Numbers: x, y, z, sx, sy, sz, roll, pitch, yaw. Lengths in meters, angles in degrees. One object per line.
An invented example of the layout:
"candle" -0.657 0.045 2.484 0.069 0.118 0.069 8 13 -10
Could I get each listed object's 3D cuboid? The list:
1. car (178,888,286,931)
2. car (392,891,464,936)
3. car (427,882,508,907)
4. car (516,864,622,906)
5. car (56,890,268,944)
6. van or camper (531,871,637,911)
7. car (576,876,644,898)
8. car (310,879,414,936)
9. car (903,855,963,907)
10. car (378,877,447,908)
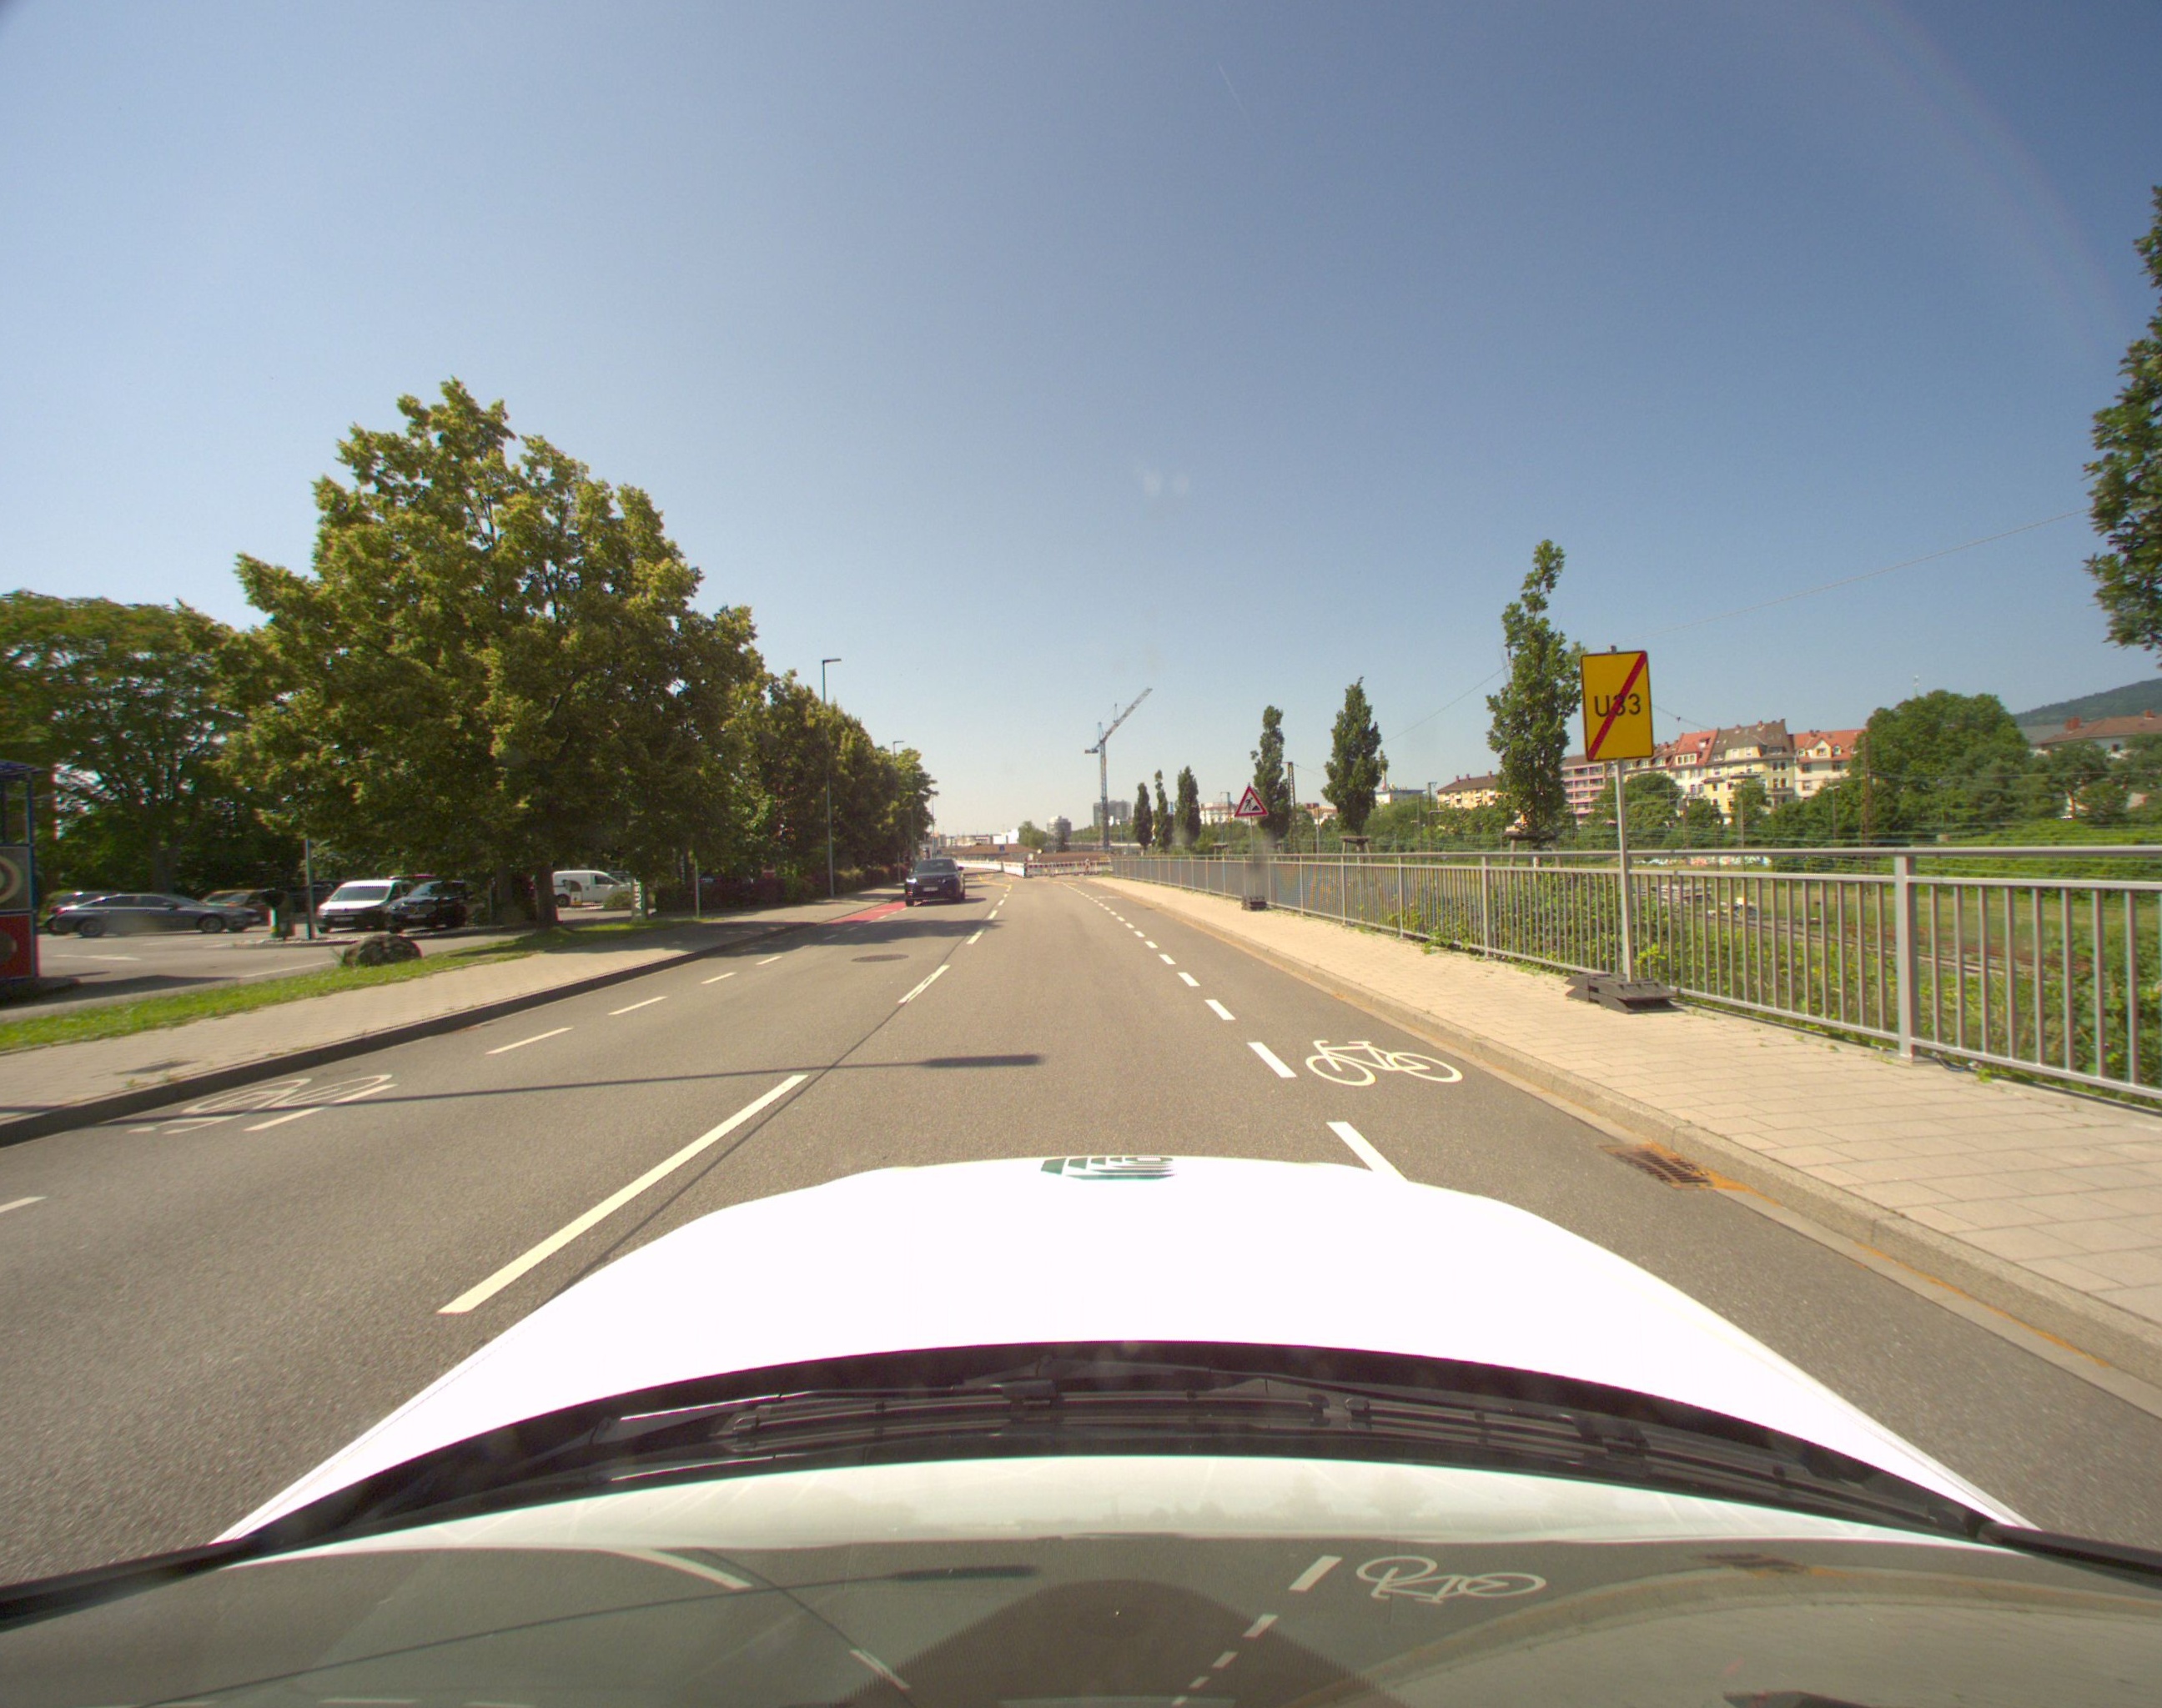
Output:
"car" -35.064 2.239 33.757 1.646 1.488 3.638 -3 0 -21
"car" -22.583 2.002 28.294 1.615 1.286 3.957 -3 0 -34
"car" -40.462 2.671 53.781 4.010 1.338 1.571 -3 0 -28
"car" -28.386 1.685 45.365 4.758 2.013 2.066 -3 0 -28
"car" -31.644 2.114 28.277 4.404 1.438 1.982 -3 0 -28
"van or camper" -25.144 1.841 41.387 4.288 1.740 1.985 -3 0 -22
"car" -36.672 2.534 63.487 4.288 1.438 1.985 -3 0 -22
"car" -25.667 1.836 29.240 1.722 1.735 4.211 -3 0 -27
"car" -5.472 0.928 30.380 1.950 1.695 4.598 -2 0 -9
"car" -36.793 2.110 44.822 3.391 1.526 1.510 -2 0 24
